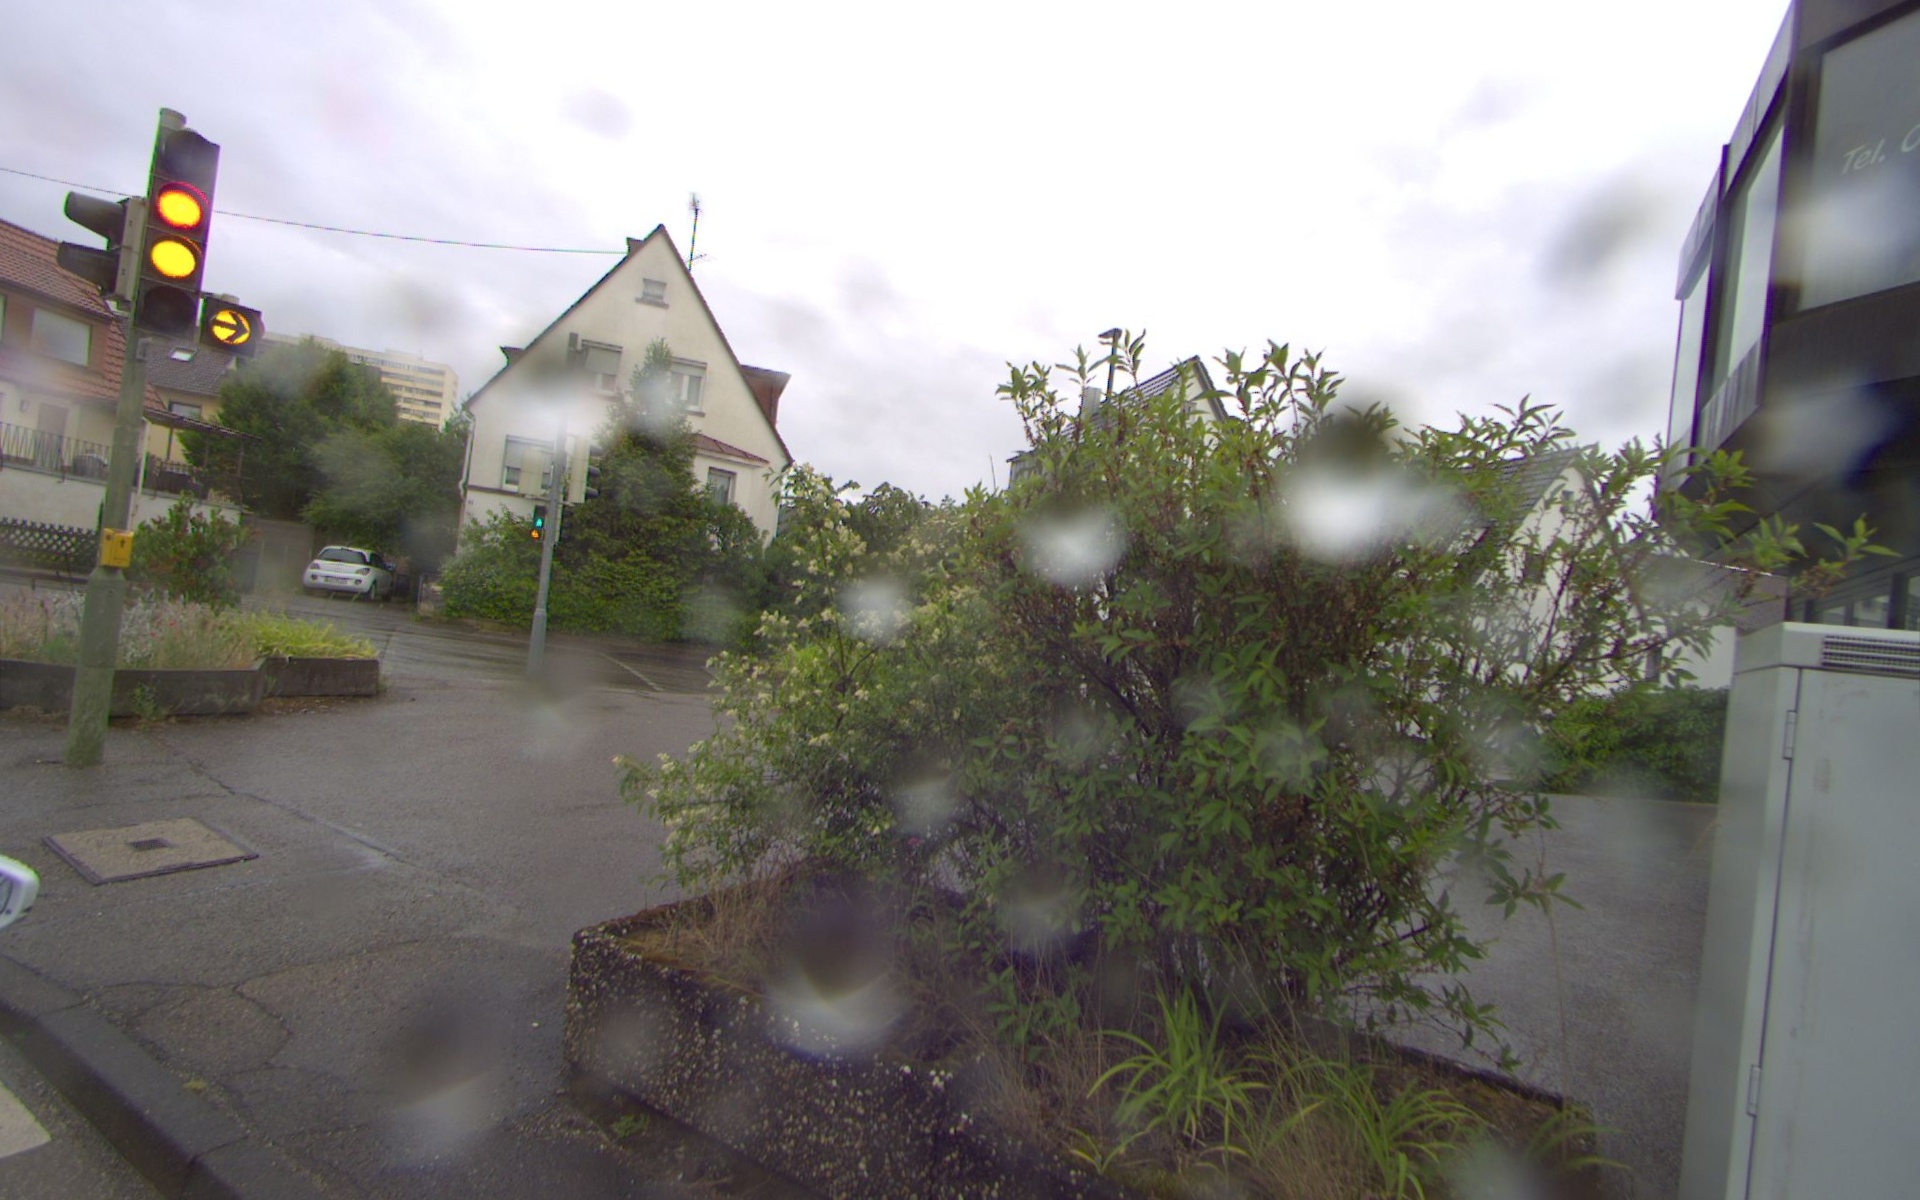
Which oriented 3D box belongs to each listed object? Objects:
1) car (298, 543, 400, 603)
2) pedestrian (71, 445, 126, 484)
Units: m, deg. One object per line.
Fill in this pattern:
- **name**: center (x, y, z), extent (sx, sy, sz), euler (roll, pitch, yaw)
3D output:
- **car**: center (-17.761, -0.752, 29.422), extent (1.794, 1.378, 3.981), euler (8, -2, -22)
- **pedestrian**: center (-24.276, -3.809, 28.372), extent (0.623, 0.893, 0.920), euler (5, -2, 13)
